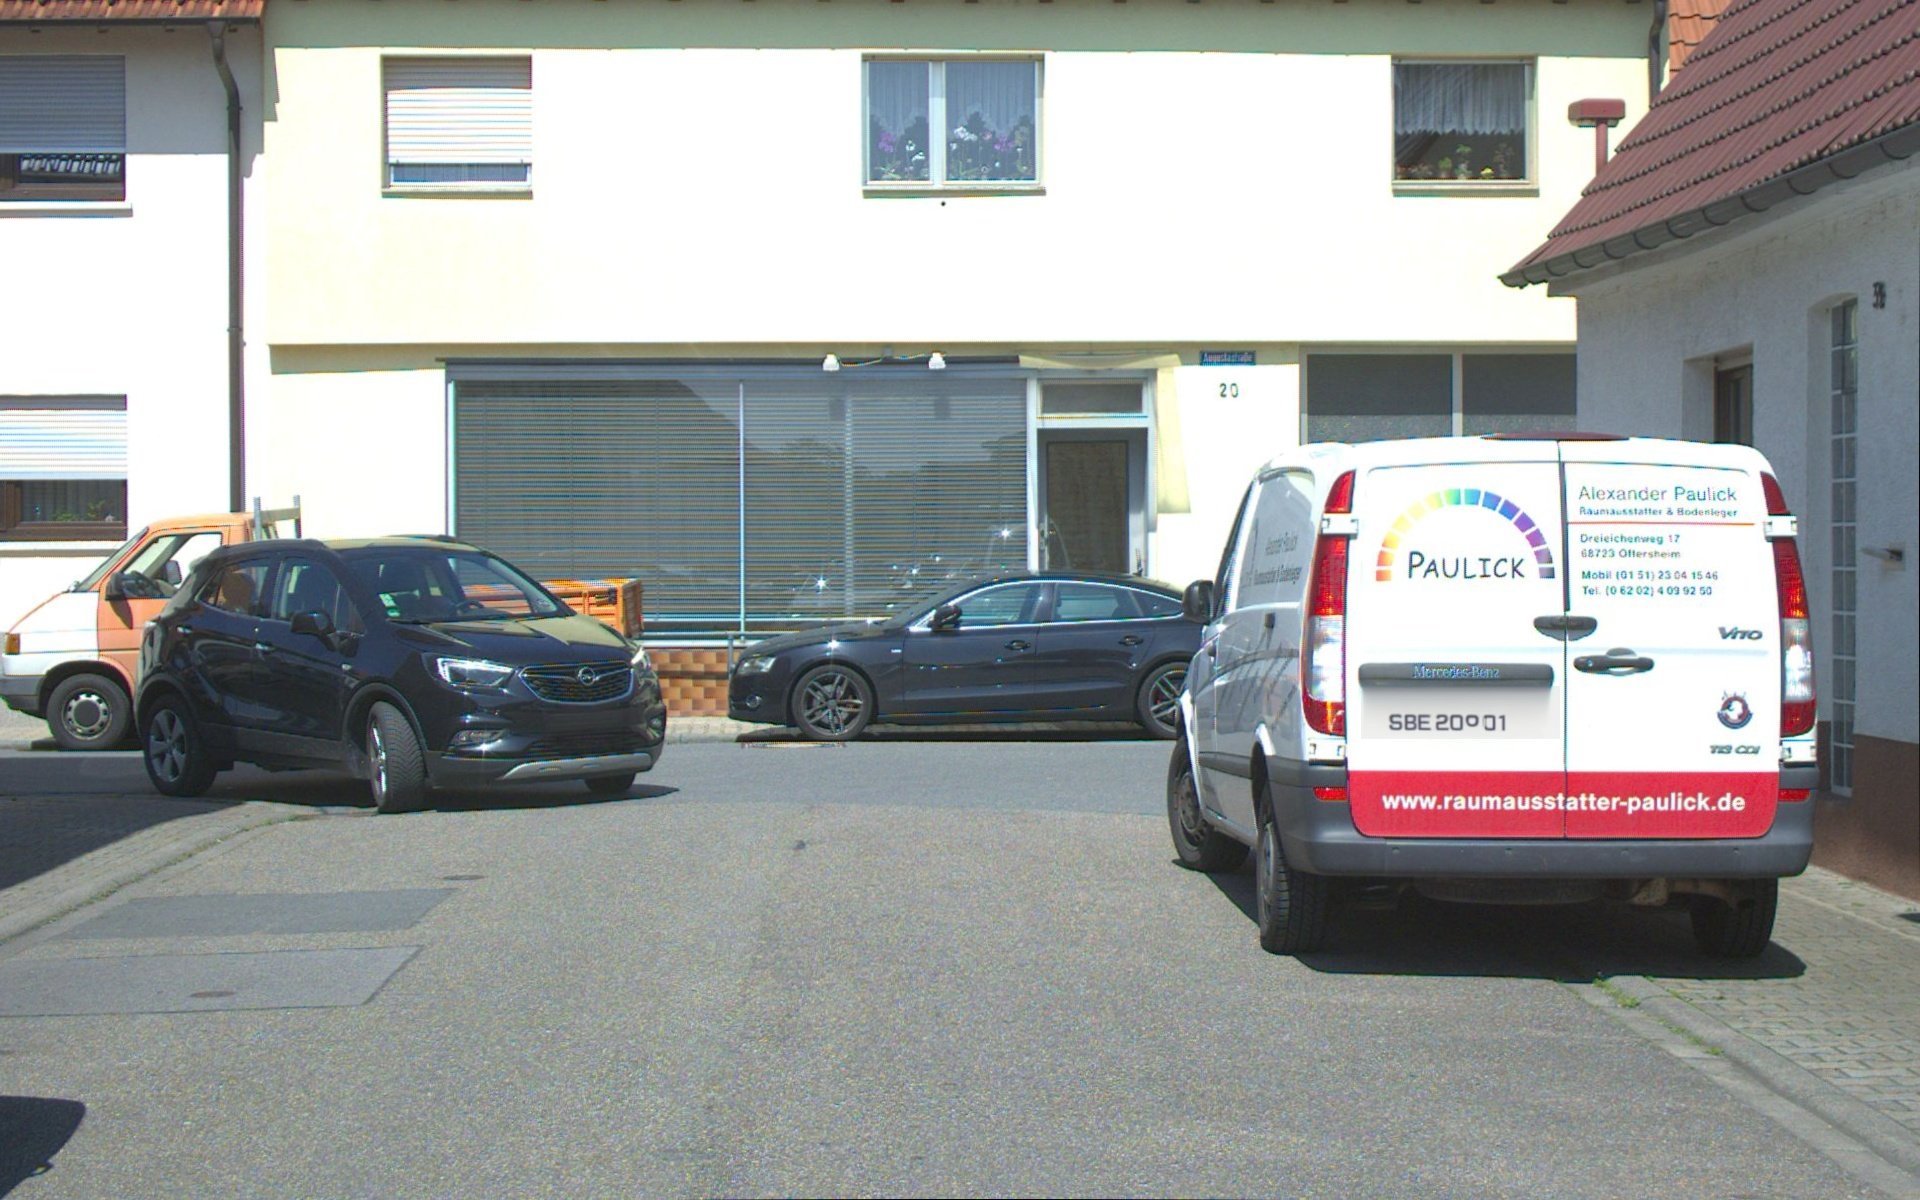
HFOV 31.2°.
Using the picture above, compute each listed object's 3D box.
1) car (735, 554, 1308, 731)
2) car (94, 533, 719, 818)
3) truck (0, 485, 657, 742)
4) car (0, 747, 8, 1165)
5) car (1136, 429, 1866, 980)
[{"bbox_3d":[0.456,0.381,28.591,4.616,1.390,1.928,0,-2,-3],"label":"car"},{"bbox_3d":[-3.558,0.408,21.575,1.757,1.577,4.278,-2,2,-43],"label":"car"},{"bbox_3d":[-5.123,0.106,28.450,5.063,2.007,2.190,0,0,-1],"label":"truck"},{"bbox_3d":[-3.124,0.635,6.352,1.774,1.610,4.350,-1,1,-4],"label":"car"},{"bbox_3d":[1.971,0.320,14.279,2.012,1.832,5.266,1,1,-2],"label":"car"}]
